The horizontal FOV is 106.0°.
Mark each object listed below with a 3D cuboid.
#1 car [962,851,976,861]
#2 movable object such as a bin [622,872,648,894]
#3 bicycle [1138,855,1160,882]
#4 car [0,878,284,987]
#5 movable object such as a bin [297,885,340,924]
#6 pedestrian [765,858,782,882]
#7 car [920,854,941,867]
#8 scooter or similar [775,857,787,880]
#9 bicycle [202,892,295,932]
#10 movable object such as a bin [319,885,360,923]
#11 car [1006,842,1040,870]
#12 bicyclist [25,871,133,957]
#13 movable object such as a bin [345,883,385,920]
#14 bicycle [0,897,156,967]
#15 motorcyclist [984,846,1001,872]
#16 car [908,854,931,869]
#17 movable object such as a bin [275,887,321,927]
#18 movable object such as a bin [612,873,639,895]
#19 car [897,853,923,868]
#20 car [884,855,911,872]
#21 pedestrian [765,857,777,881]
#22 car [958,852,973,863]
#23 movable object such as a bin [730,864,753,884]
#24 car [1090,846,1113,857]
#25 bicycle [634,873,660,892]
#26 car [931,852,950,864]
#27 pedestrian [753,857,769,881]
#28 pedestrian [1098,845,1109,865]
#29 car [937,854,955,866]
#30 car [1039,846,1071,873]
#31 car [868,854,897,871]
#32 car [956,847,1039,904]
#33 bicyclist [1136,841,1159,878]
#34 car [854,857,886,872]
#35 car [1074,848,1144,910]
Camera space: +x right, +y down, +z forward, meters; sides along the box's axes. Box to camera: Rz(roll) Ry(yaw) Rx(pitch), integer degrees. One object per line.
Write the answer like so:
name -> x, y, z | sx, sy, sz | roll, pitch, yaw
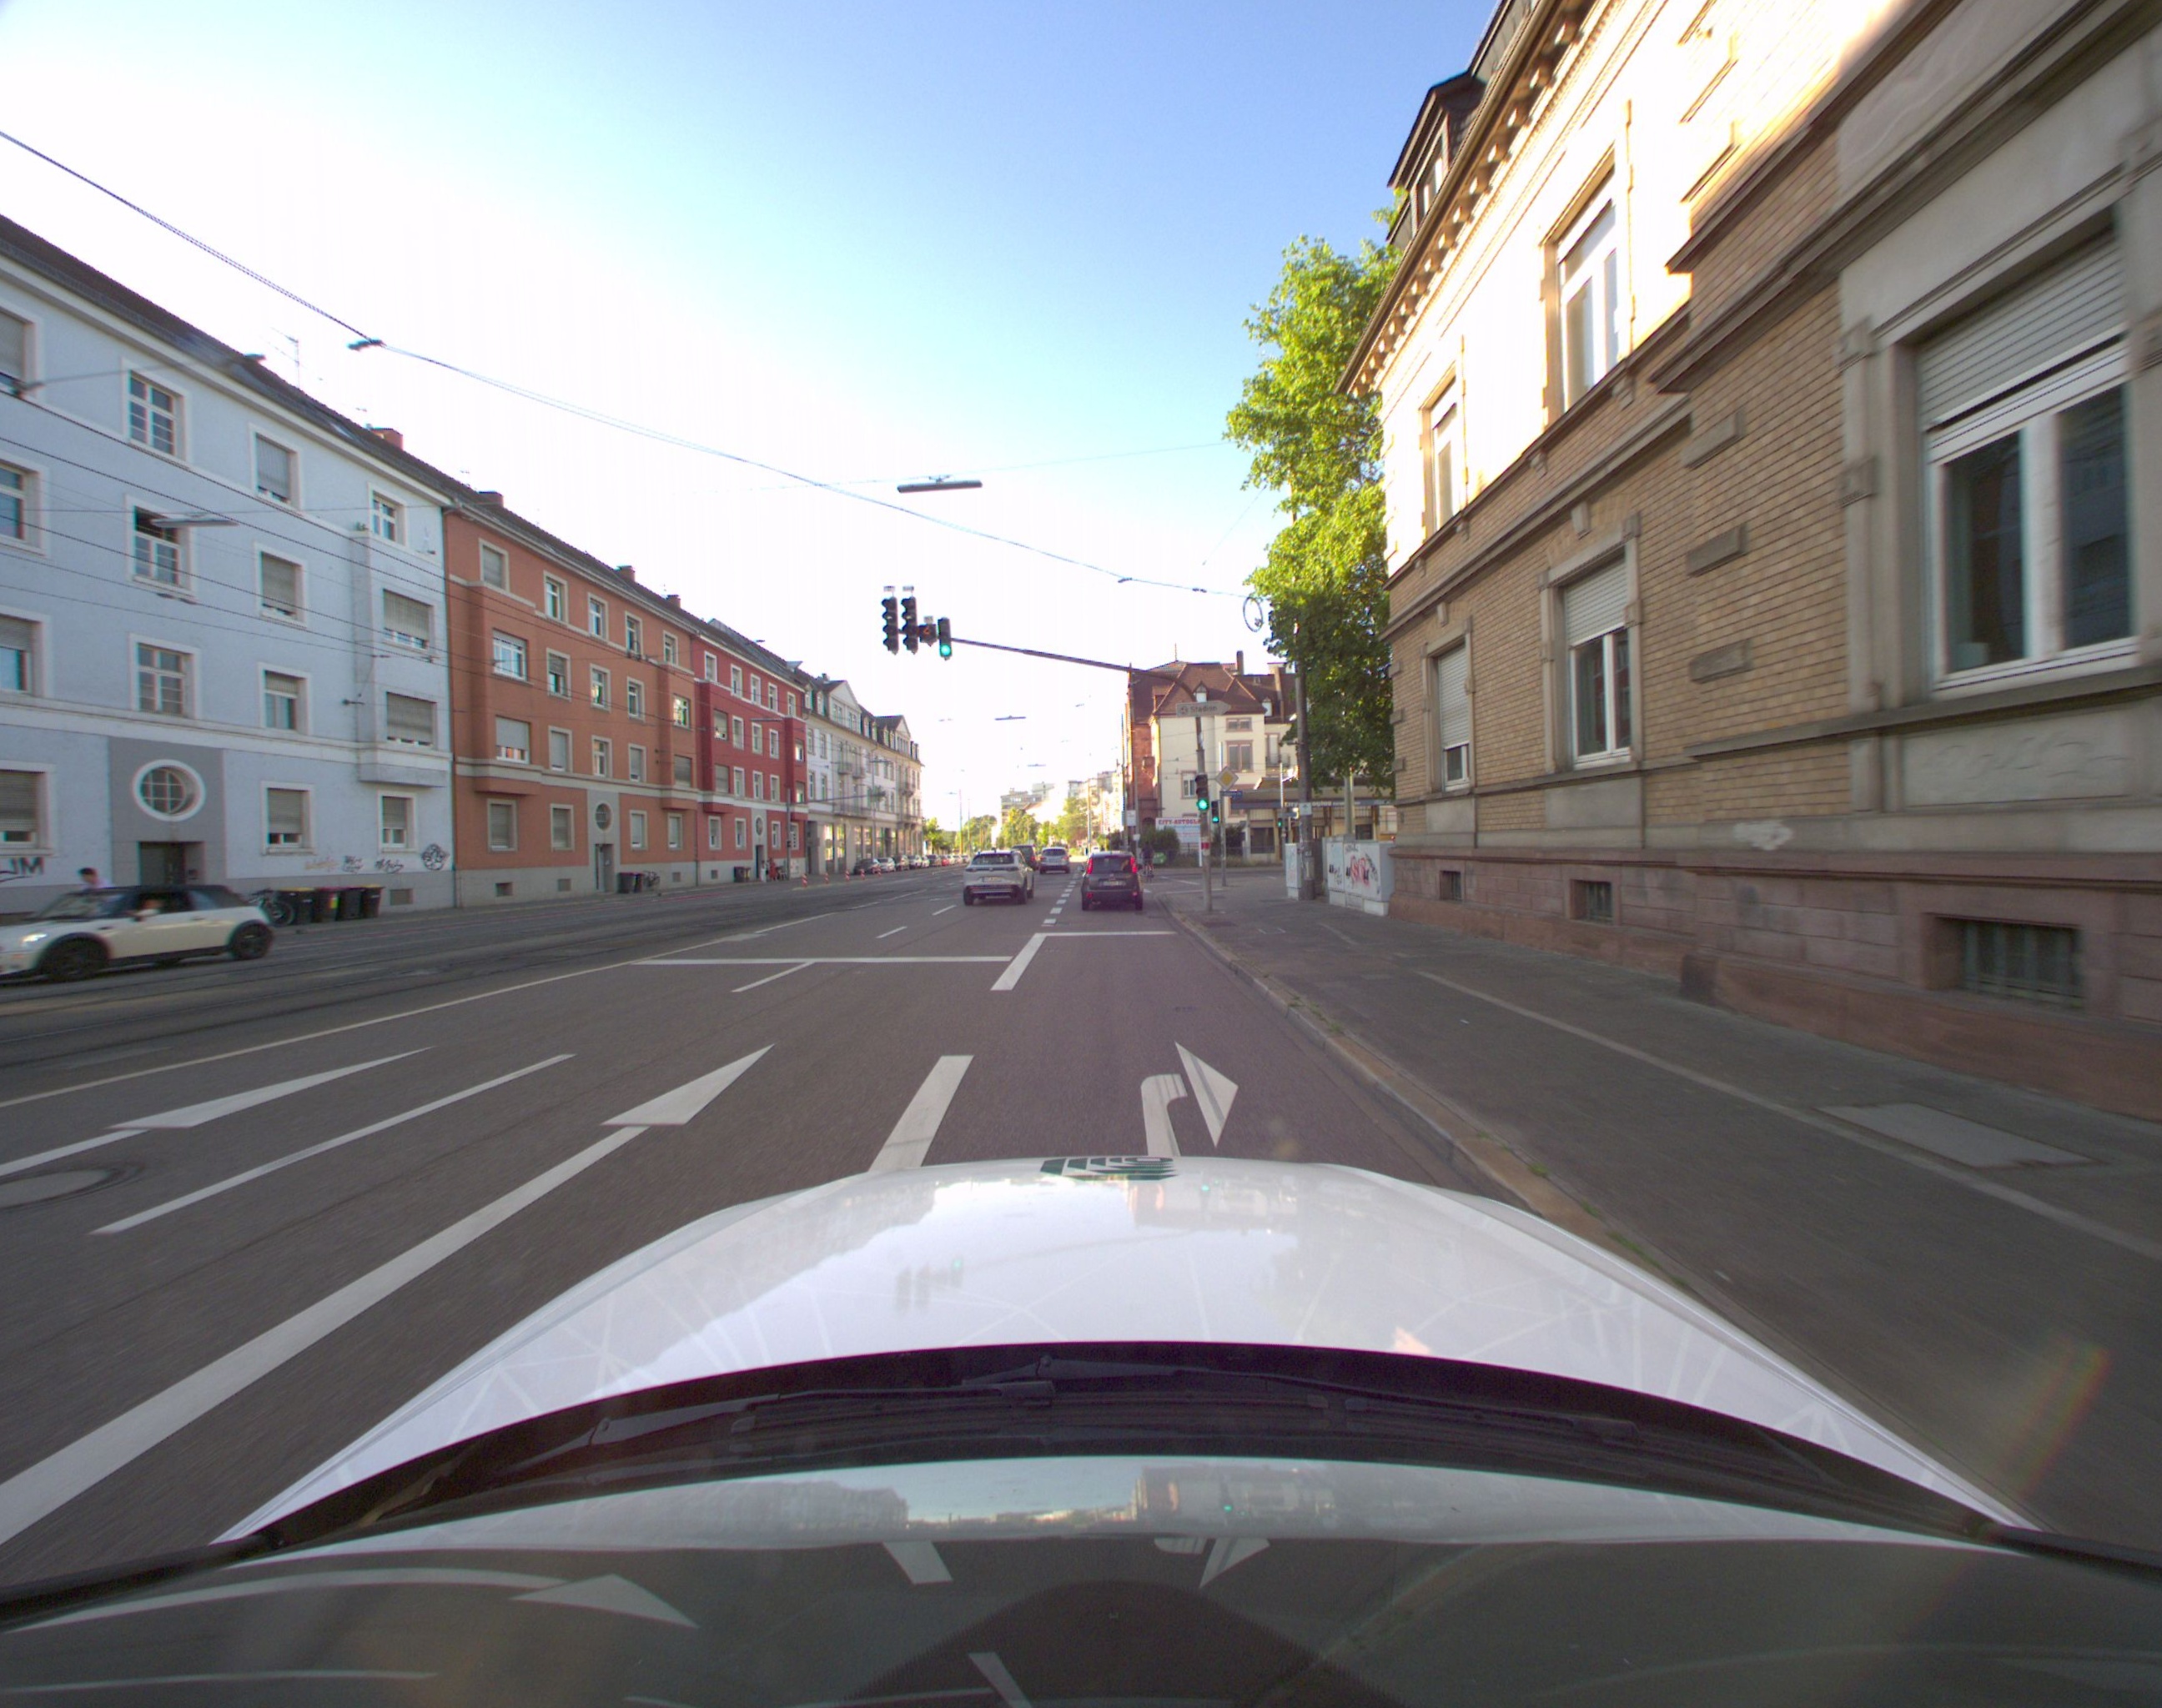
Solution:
car -> -18.743, 0.262, 136.254 | 1.713, 1.552, 4.001 | -2, 0, 1
movable object such as a bin -> -22.192, 1.446, 40.559 | 0.841, 1.040, 0.810 | -2, 0, -4
bicycle -> 2.891, 0.596, 34.857 | 0.768, 1.086, 1.870 | -1, 0, 0
car -> -15.599, 1.181, 13.251 | 1.720, 1.375, 3.534 | -2, 0, 0
movable object such as a bin -> -22.786, 1.499, 24.337 | 0.699, 1.106, 0.583 | -1, 0, 1
pedestrian -> -21.296, 1.086, 56.381 | 0.835, 1.633, 0.786 | -2, 0, -37
car -> -18.499, 0.809, 100.405 | 1.713, 1.552, 4.001 | -2, 0, 1
scooter or similar -> -21.319, 1.025, 57.821 | 0.657, 1.633, 0.787 | -1, 0, -31
bicycle -> -22.770, 1.566, 22.336 | 0.603, 0.980, 1.877 | -1, 0, 1
movable object such as a bin -> -22.739, 1.532, 24.971 | 0.700, 1.106, 0.582 | -1, 0, 0
car -> -4.398, 0.149, 62.739 | 2.164, 2.009, 4.809 | -2, 0, 1
bicyclist -> -20.329, 1.194, 16.547 | 0.744, 1.643, 1.126 | -2, 0, 1
movable object such as a bin -> -22.605, 1.504, 25.723 | 0.700, 1.106, 0.582 | -1, 0, 0
bicycle -> -20.325, 1.530, 16.448 | 0.744, 1.191, 2.153 | -2, 0, 1
motorcyclist -> -4.869, 0.266, 44.832 | 0.775, 1.423, 0.891 | -1, 0, 0
car -> -18.899, 0.844, 95.331 | 1.713, 1.552, 4.001 | -2, 0, 1
movable object such as a bin -> -22.771, 1.529, 23.697 | 0.700, 1.106, 0.648 | -1, 0, 0
movable object such as a bin -> -22.207, 1.455, 39.676 | 0.841, 1.040, 0.810 | -2, 0, -4
car -> -18.929, 0.699, 90.191 | 1.829, 1.552, 4.275 | -2, 0, 1
car -> -18.783, 0.949, 83.416 | 1.713, 1.552, 3.857 | -2, 0, 1
pedestrian -> -21.756, 1.070, 57.142 | 0.657, 1.633, 0.787 | -1, 0, -31
car -> -18.445, 0.564, 130.239 | 1.713, 1.552, 4.001 | -2, 0, 1
movable object such as a bin -> -22.070, 1.274, 52.948 | 0.866, 1.249, 1.236 | -2, 0, 7
car -> 3.962, -0.512, 158.789 | 4.256, 2.013, 1.994 | -1, 0, -9
bicycle -> -22.466, 1.465, 42.210 | 0.333, 0.890, 1.607 | -2, 0, 5
car -> -18.330, 0.500, 106.364 | 1.713, 1.552, 4.001 | -2, 0, 1
pedestrian -> -21.863, 1.037, 55.630 | 0.786, 1.633, 0.658 | -1, 0, 19
pedestrian -> 2.013, 0.083, 72.641 | 0.872, 1.824, 1.185 | -1, 0, 2
car -> -18.419, 0.773, 111.110 | 1.713, 1.552, 4.001 | -2, 0, 1
car -> -1.591, 0.329, 51.255 | 1.808, 1.582, 4.000 | -2, 0, 0
car -> -19.084, 0.805, 78.464 | 1.713, 1.452, 4.001 | -2, 0, 1
car -> -2.419, 0.590, 24.564 | 1.940, 1.528, 4.091 | -1, 1, 2
bicyclist -> 2.861, 0.234, 34.979 | 0.832, 1.525, 0.993 | -1, 0, -3
car -> -18.823, 0.929, 72.878 | 1.713, 1.232, 4.001 | -2, 0, 1
car -> 0.854, 0.624, 22.543 | 1.723, 1.500, 4.005 | -1, 1, 4
